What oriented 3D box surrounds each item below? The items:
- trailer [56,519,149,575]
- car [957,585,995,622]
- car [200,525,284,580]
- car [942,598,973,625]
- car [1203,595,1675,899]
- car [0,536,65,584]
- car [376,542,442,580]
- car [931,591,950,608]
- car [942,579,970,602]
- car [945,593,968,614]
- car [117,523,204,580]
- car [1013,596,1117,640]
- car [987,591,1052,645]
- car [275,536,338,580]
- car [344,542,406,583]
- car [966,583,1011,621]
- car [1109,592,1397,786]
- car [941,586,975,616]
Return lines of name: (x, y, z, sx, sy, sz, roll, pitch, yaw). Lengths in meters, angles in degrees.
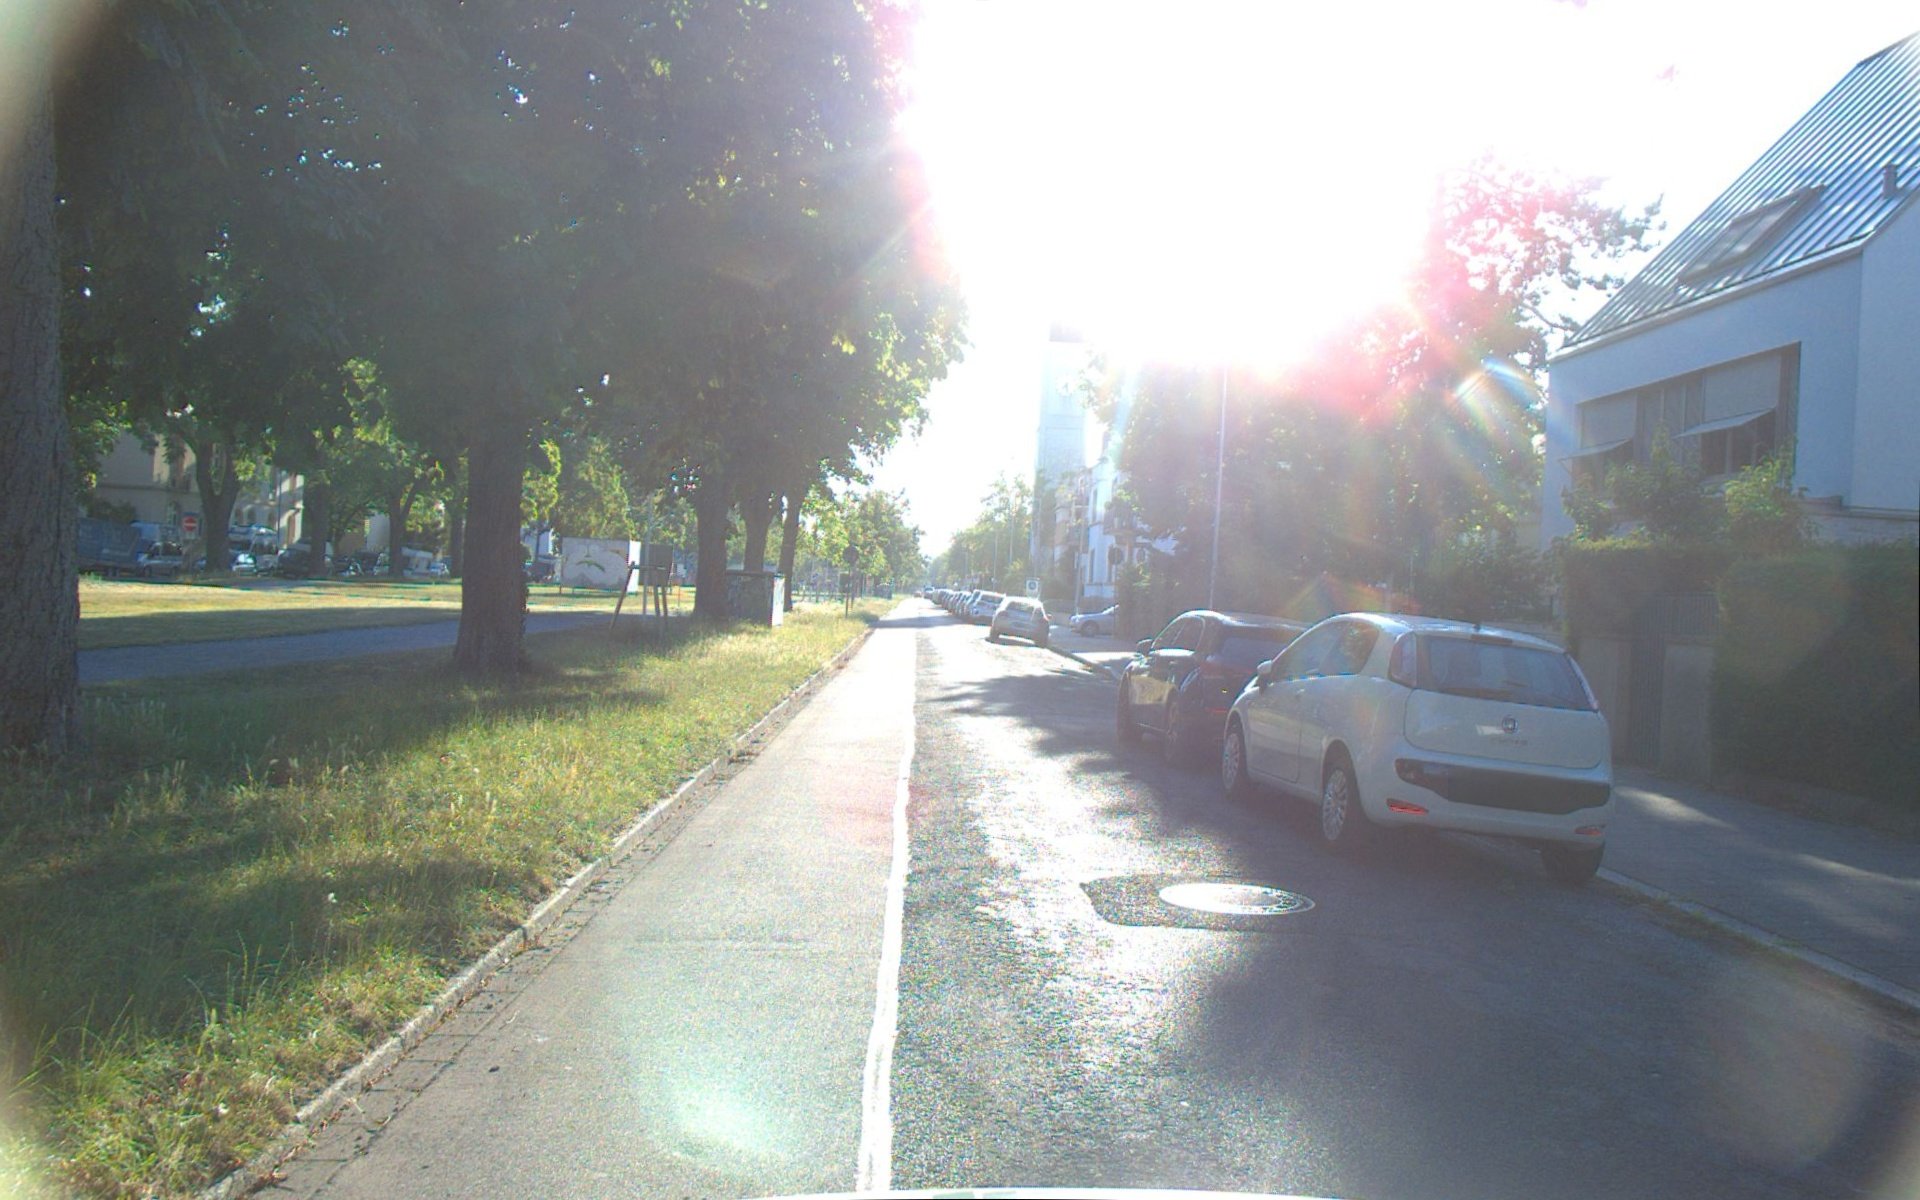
trailer: (-40.705, -2.470, 78.641, 1.953, 2.470, 4.723, 2, 0, -1)
car: (0.794, 0.164, 82.770, 1.651, 1.679, 4.098, 3, 0, -2)
car: (-41.342, -2.683, 95.398, 2.388, 2.973, 5.816, 0, 0, -2)
car: (-0.165, 0.738, 107.352, 1.726, 1.547, 3.998, 4, 0, -3)
car: (3.019, 0.834, 11.339, 1.659, 1.508, 3.925, 6, 0, -5)
car: (-40.801, -1.710, 71.262, 1.954, 1.986, 4.748, 2, 0, -3)
car: (-35.758, -2.521, 107.544, 2.483, 2.275, 5.458, 2, 1, -1)
car: (-2.111, -0.059, 178.635, 1.940, 1.712, 4.000, 2, 0, -1)
car: (-0.303, -0.677, 118.591, 1.953, 1.489, 4.000, 2, 0, -1)
car: (-0.335, 0.278, 144.076, 1.953, 1.658, 4.000, 2, 0, -1)
car: (-40.878, -2.426, 84.698, 1.953, 2.719, 5.186, 2, 0, -1)
car: (4.240, 0.708, 66.994, 3.911, 1.444, 1.765, 3, 3, -7)
car: (1.880, 0.548, 53.578, 1.723, 1.443, 4.071, 9, 0, -1)
car: (-35.287, -2.241, 89.346, 1.650, 2.213, 4.314, 2, 0, -1)
car: (-35.418, -2.244, 100.295, 1.953, 2.289, 5.185, 2, 0, -2)
car: (1.294, 0.047, 76.778, 1.723, 1.633, 4.357, 2, 1, -3)
car: (2.714, 0.755, 16.341, 1.715, 1.502, 4.285, 4, 1, -4)
car: (-0.138, 0.052, 97.161, 1.723, 1.633, 4.357, 2, 1, -3)
